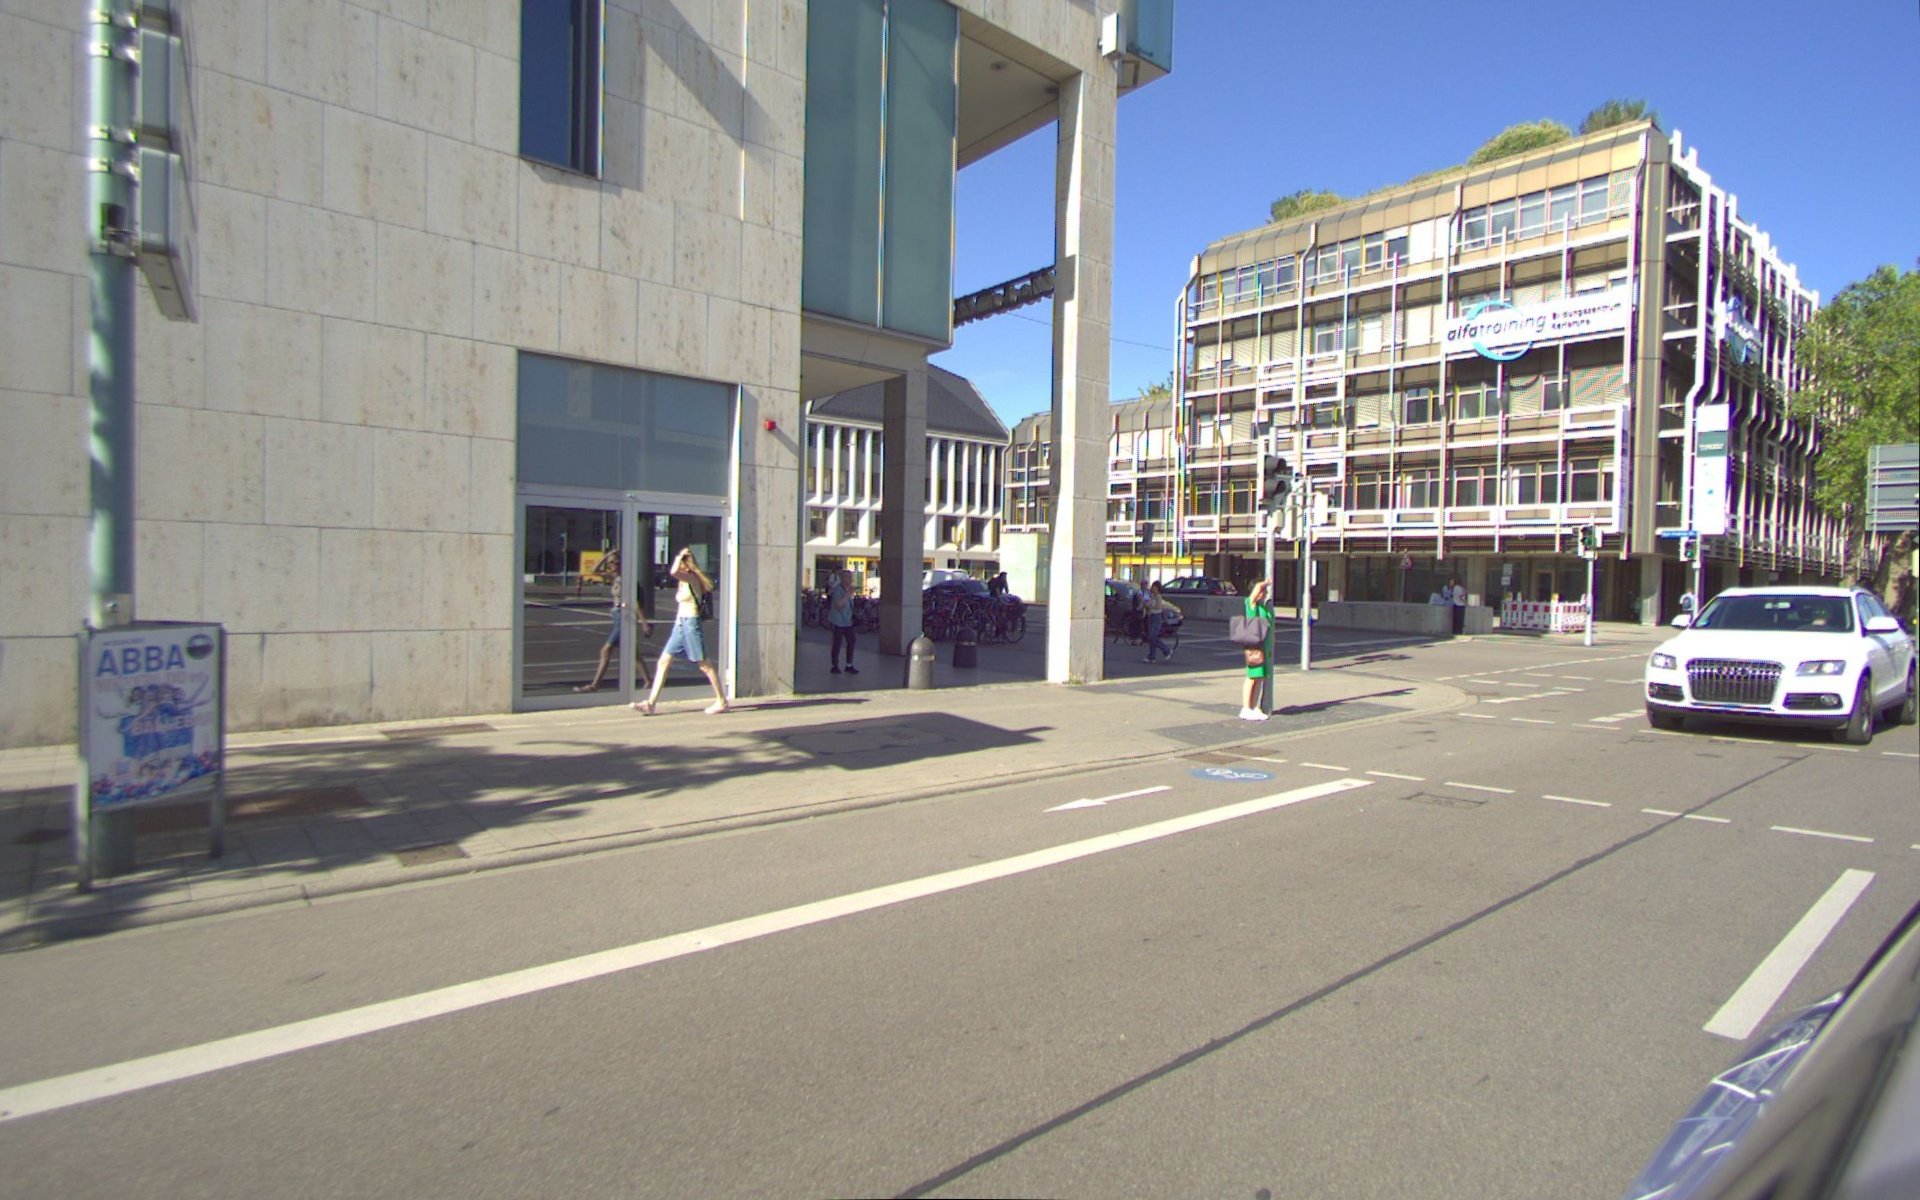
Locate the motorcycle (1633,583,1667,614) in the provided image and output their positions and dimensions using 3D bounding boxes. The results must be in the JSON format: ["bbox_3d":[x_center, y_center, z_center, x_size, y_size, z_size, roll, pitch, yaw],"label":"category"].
[{"bbox_3d":[33.511,-0.078,49.150,2.085,1.459,0.825,0,1,-40],"label":"motorcycle"}]

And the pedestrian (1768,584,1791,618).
[{"bbox_3d":[40.306,0.040,49.753,0.715,1.620,0.668,1,3,-40],"label":"pedestrian"}]

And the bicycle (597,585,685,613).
[{"bbox_3d":[-13.650,-0.047,43.353,3.433,1.107,1.069,0,1,-38],"label":"bicycle"}]

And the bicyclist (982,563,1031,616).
[{"bbox_3d":[1.304,-0.299,28.439,1.021,1.451,0.936,0,1,-37],"label":"bicyclist"}]

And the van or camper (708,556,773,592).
[{"bbox_3d":[-16.435,-1.965,75.473,2.281,2.545,6.425,0,2,-37],"label":"van or camper"}]

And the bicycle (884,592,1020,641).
[{"bbox_3d":[-0.148,0.384,24.943,3.434,1.107,1.068,0,1,-39],"label":"bicycle"}]

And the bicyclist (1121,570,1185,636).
[{"bbox_3d":[4.583,0.057,24.073,1.052,1.494,1.025,0,1,-37],"label":"bicyclist"}]

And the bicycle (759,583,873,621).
[{"bbox_3d":[-4.403,0.054,31.198,3.433,1.107,1.069,0,1,-38],"label":"bicycle"}]

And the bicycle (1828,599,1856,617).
[{"bbox_3d":[48.966,0.438,56.177,2.015,0.997,0.882,0,1,-41],"label":"bicycle"}]

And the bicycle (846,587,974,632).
[{"bbox_3d":[-1.296,0.235,27.086,3.434,1.107,1.068,0,1,-39],"label":"bicycle"}]

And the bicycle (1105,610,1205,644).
[{"bbox_3d":[4.606,0.623,24.054,1.052,0.679,2.200,0,2,-36],"label":"bicycle"}]

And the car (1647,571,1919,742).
[{"bbox_3d":[9.796,0.539,11.740,4.332,1.634,1.824,0,0,-39],"label":"car"}]

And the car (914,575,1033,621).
[{"bbox_3d":[0.416,-0.123,36.320,1.827,1.438,4.618,-2,3,-38],"label":"car"}]

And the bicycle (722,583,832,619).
[{"bbox_3d":[-5.939,0.029,32.978,3.433,1.107,1.069,0,1,-38],"label":"bicycle"}]

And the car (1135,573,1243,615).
[{"bbox_3d":[9.767,-0.284,43.420,1.758,1.721,4.408,1,1,-39],"label":"car"}]

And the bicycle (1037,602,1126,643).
[{"bbox_3d":[3.104,0.553,26.074,1.052,0.955,2.200,0,2,-36],"label":"bicycle"}]

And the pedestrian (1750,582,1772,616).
[{"bbox_3d":[39.844,-0.044,50.340,0.715,1.620,0.668,1,3,-40],"label":"pedestrian"}]

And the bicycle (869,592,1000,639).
[{"bbox_3d":[-0.615,0.375,26.071,3.434,1.107,1.068,0,1,-39],"label":"bicycle"}]

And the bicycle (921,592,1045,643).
[{"bbox_3d":[0.581,0.389,24.021,2.937,1.107,1.068,0,1,-39],"label":"bicycle"}]

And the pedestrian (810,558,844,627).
[{"bbox_3d":[-3.788,-0.220,28.780,0.631,1.931,0.734,1,1,27],"label":"pedestrian"}]

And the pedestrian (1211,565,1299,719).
[{"bbox_3d":[3.487,0.469,11.979,0.686,1.723,0.658,0,3,-42],"label":"pedestrian"}]

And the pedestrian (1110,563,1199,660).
[{"bbox_3d":[3.913,0.208,20.326,1.496,1.823,0.969,0,3,-41],"label":"pedestrian"}]

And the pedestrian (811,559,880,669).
[{"bbox_3d":[-1.761,0.200,15.526,0.736,1.628,0.725,1,1,-40],"label":"pedestrian"}]

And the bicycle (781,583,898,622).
[{"bbox_3d":[-3.581,0.074,30.365,3.433,1.107,1.069,0,1,-38],"label":"bicycle"}]

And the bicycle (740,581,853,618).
[{"bbox_3d":[-5.154,-0.035,32.087,3.433,1.107,1.069,0,1,-38],"label":"bicycle"}]

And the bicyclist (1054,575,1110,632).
[{"bbox_3d":[3.140,0.084,26.041,1.056,1.413,0.936,0,1,-37],"label":"bicyclist"}]

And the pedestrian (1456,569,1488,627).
[{"bbox_3d":[14.877,-0.056,29.412,0.659,1.632,0.519,4,3,41],"label":"pedestrian"}]

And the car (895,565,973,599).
[{"bbox_3d":[-1.432,-0.993,54.904,4.144,1.755,1.765,1,1,40],"label":"car"}]

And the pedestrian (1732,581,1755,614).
[{"bbox_3d":[39.400,-0.132,50.888,0.991,1.620,0.668,1,3,-40],"label":"pedestrian"}]

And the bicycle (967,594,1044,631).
[{"bbox_3d":[1.257,0.331,28.478,1.011,0.944,2.200,0,2,-36],"label":"bicycle"}]

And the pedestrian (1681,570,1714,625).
[{"bbox_3d":[28.020,-0.095,38.456,0.945,2.039,1.064,2,1,38],"label":"pedestrian"}]

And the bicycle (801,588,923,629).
[{"bbox_3d":[-2.774,0.225,28.955,3.433,1.107,1.069,0,1,-38],"label":"bicycle"}]

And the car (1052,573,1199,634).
[{"bbox_3d":[4.844,0.041,30.080,1.827,1.632,4.197,-2,3,-38],"label":"car"}]

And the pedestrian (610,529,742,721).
[{"bbox_3d":[-2.876,0.222,10.268,1.047,1.823,0.729,0,3,-41],"label":"pedestrian"}]

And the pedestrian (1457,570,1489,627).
[{"bbox_3d":[15.194,-0.053,29.980,0.659,1.632,0.519,4,3,41],"label":"pedestrian"}]

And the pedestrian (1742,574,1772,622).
[{"bbox_3d":[34.648,-0.104,43.993,0.946,2.039,1.063,1,1,42],"label":"pedestrian"}]

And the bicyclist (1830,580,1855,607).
[{"bbox_3d":[48.953,-0.370,56.145,0.868,1.495,0.882,1,1,-40],"label":"bicyclist"}]

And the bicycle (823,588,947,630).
[{"bbox_3d":[-2.037,0.234,28.082,3.433,1.107,1.069,0,1,-38],"label":"bicycle"}]
